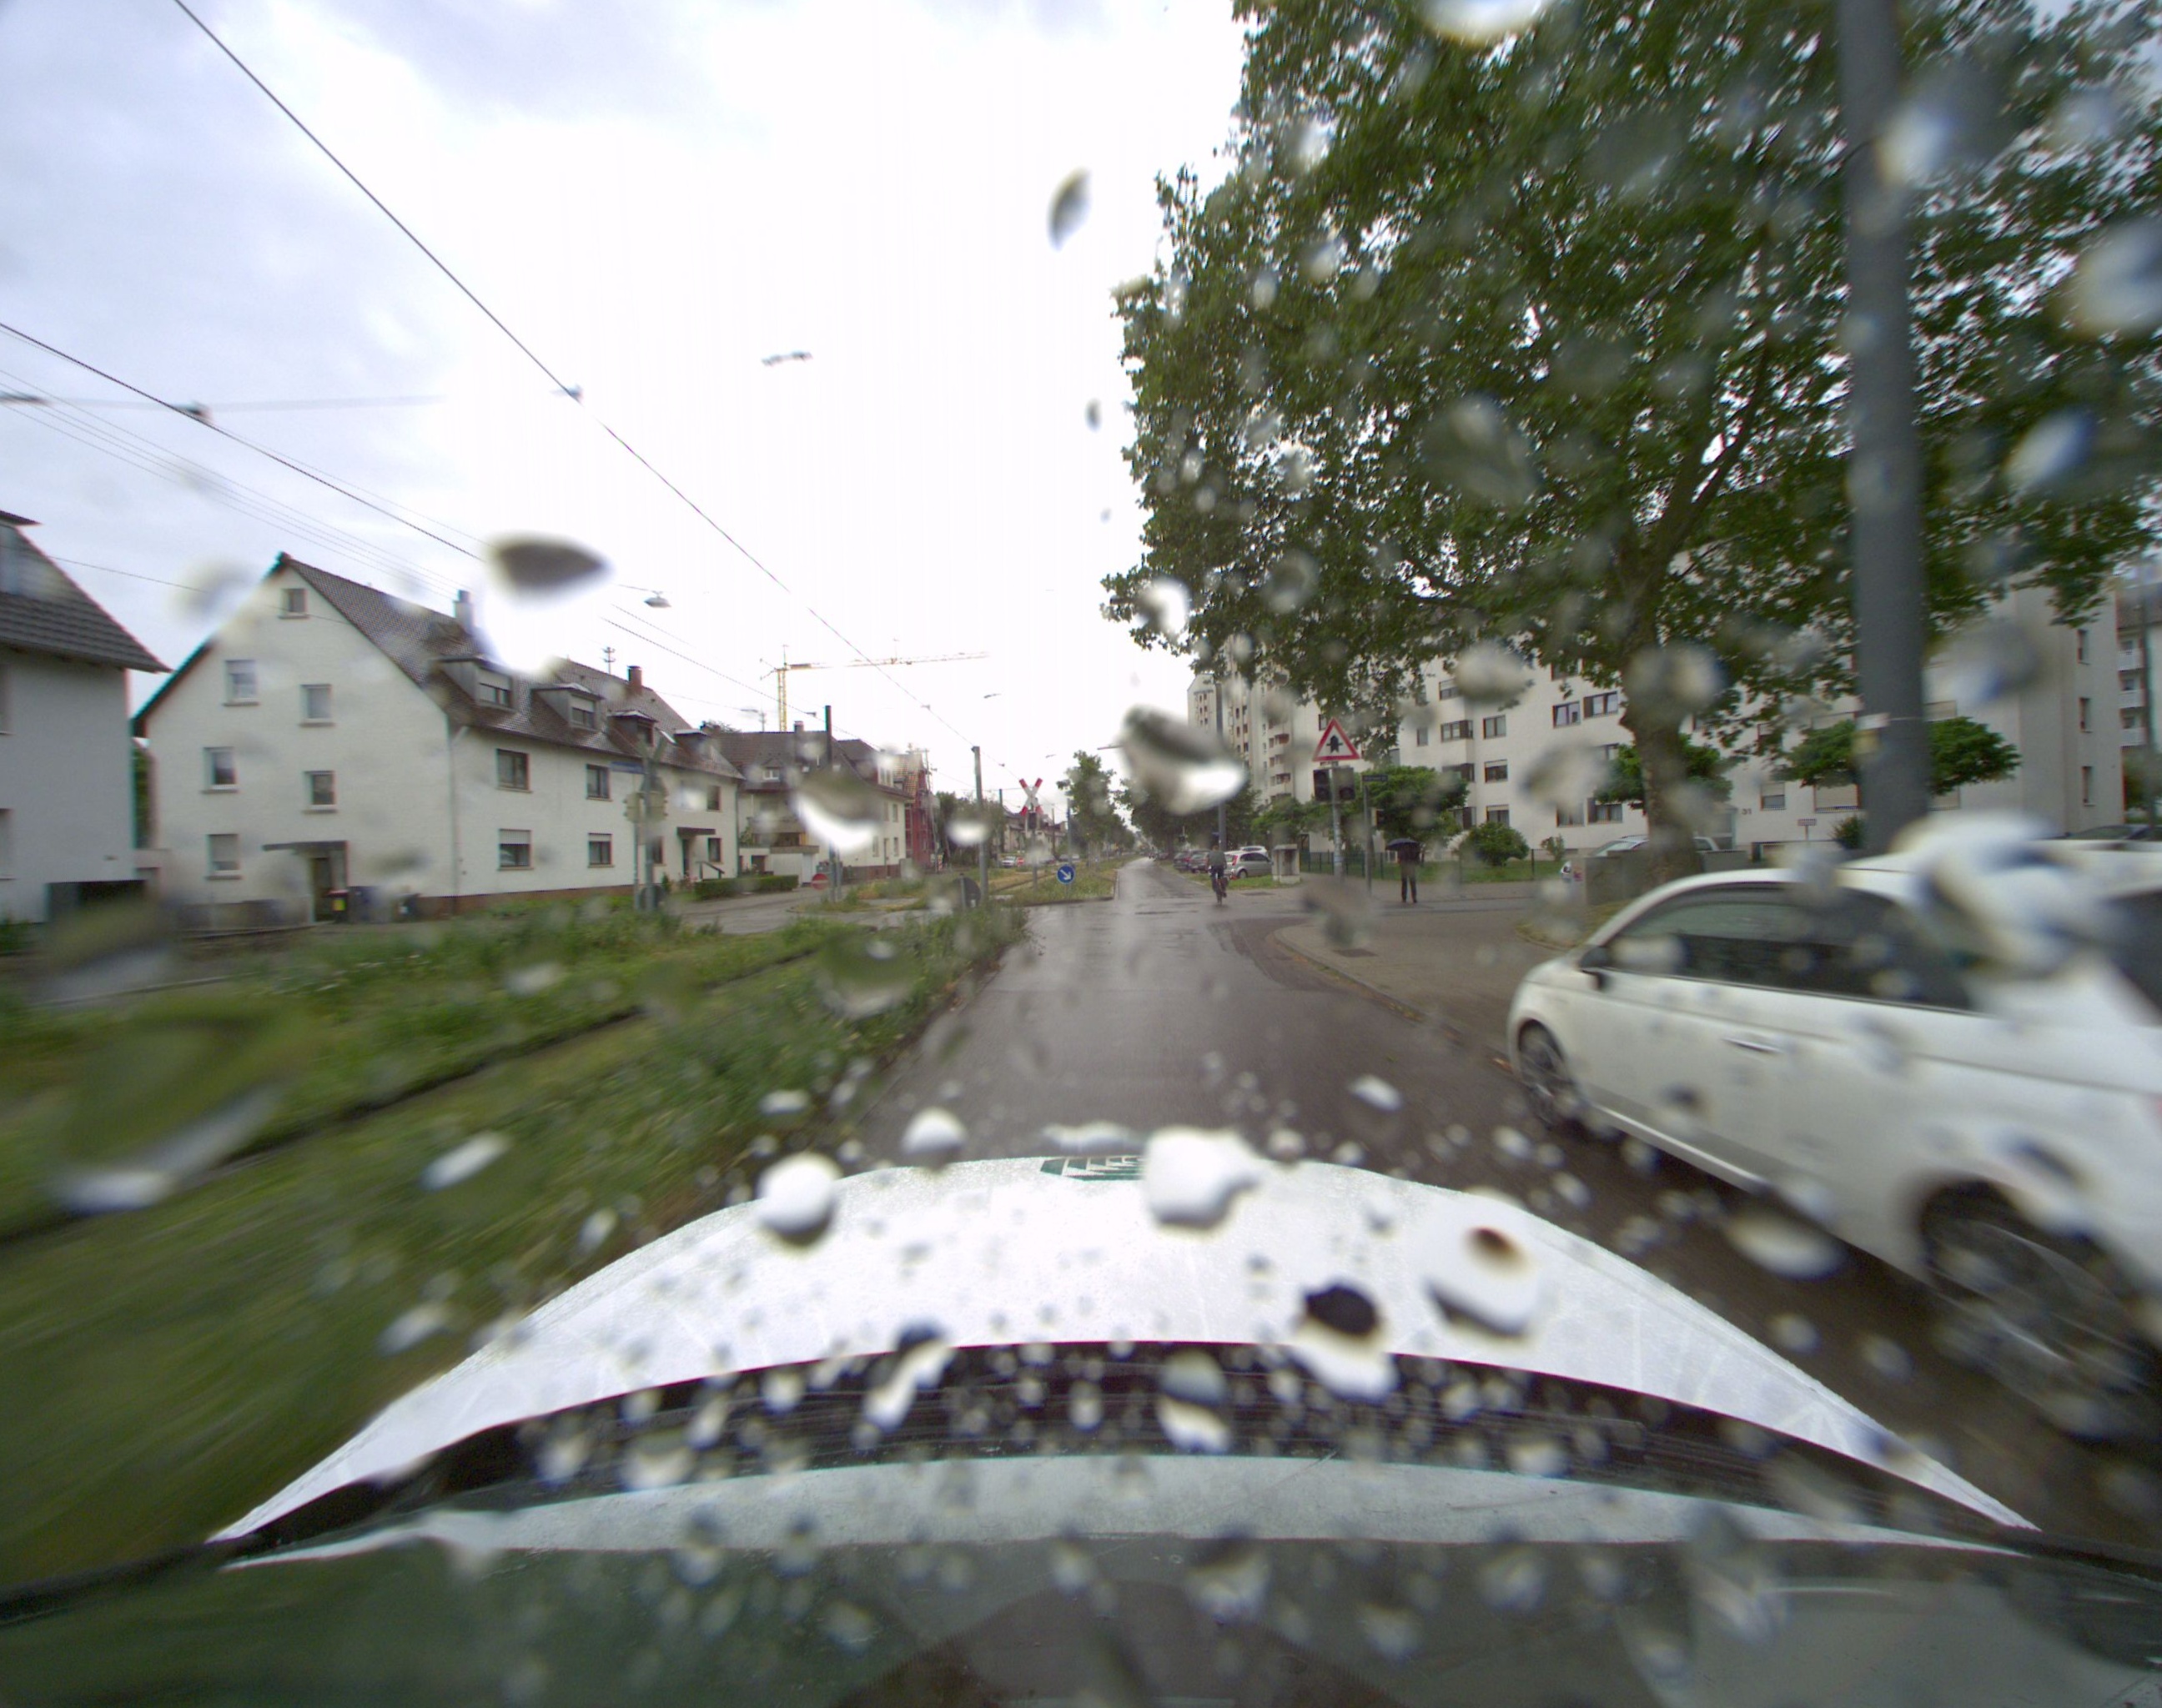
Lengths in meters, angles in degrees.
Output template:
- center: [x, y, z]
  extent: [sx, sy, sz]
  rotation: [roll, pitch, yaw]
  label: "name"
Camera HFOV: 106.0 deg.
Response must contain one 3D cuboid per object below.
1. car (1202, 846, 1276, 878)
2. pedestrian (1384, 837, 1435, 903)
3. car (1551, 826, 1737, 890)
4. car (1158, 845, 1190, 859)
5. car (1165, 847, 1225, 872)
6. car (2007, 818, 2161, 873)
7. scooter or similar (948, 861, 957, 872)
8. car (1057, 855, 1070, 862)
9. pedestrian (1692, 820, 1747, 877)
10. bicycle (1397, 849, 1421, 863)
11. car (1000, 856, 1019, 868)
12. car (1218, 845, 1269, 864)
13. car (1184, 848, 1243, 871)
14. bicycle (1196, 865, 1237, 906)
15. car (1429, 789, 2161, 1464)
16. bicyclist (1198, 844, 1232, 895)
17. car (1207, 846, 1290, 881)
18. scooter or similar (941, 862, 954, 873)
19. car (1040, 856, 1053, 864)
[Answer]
- center: [8.770, 0.451, 45.111]
  extent: [4.018, 1.508, 1.686]
  rotation: [-3, -2, -36]
  label: "car"
- center: [9.509, 0.453, 23.635]
  extent: [1.091, 1.813, 1.439]
  rotation: [-2, 0, 13]
  label: "pedestrian"
- center: [17.025, 0.134, 24.804]
  extent: [4.273, 1.680, 1.874]
  rotation: [-3, 0, 4]
  label: "car"
- center: [13.503, -0.326, 118.628]
  extent: [4.159, 1.719, 1.982]
  rotation: [-5, 1, -28]
  label: "car"
- center: [8.455, 0.415, 60.072]
  extent: [4.371, 1.651, 1.837]
  rotation: [-3, 0, -38]
  label: "car"
- center: [31.368, -0.278, 24.647]
  extent: [4.273, 1.505, 1.940]
  rotation: [-3, 0, 4]
  label: "car"
- center: [-13.415, 1.306, 85.025]
  extent: [0.390, 1.180, 1.289]
  rotation: [-2, 0, 19]
  label: "scooter or similar"
- center: [-3.521, 0.898, 165.893]
  extent: [1.886, 1.244, 4.698]
  rotation: [0, 0, 8]
  label: "car"
- center: [20.773, -0.175, 26.516]
  extent: [1.174, 1.768, 0.721]
  rotation: [-2, 0, 0]
  label: "pedestrian"
- center: [21.876, 0.130, 54.378]
  extent: [0.491, 0.847, 1.560]
  rotation: [-2, 0, -22]
  label: "bicycle"
- center: [-9.683, 1.029, 110.505]
  extent: [1.702, 1.542, 4.429]
  rotation: [0, 0, 6]
  label: "car"
- center: [17.106, 0.058, 85.766]
  extent: [4.805, 1.745, 1.992]
  rotation: [-2, 0, -12]
  label: "car"
- center: [9.291, 0.399, 57.029]
  extent: [4.019, 1.429, 1.715]
  rotation: [-3, 0, -38]
  label: "car"
- center: [4.000, 0.897, 24.175]
  extent: [0.806, 1.096, 2.518]
  rotation: [-3, 0, 1]
  label: "bicycle"
- center: [3.204, 0.576, 3.673]
  extent: [1.553, 1.519, 4.000]
  rotation: [-3, 0, 1]
  label: "car"
- center: [3.982, 0.452, 24.299]
  extent: [0.807, 1.433, 1.060]
  rotation: [-3, 0, 1]
  label: "bicyclist"
- center: [8.622, 0.488, 41.733]
  extent: [4.015, 1.508, 1.765]
  rotation: [-3, -2, -33]
  label: "car"
- center: [-13.404, 1.350, 81.916]
  extent: [0.435, 1.129, 1.291]
  rotation: [-2, 0, 34]
  label: "scooter or similar"
- center: [-5.902, 1.031, 140.055]
  extent: [1.655, 1.244, 4.077]
  rotation: [0, 0, 5]
  label: "car"
